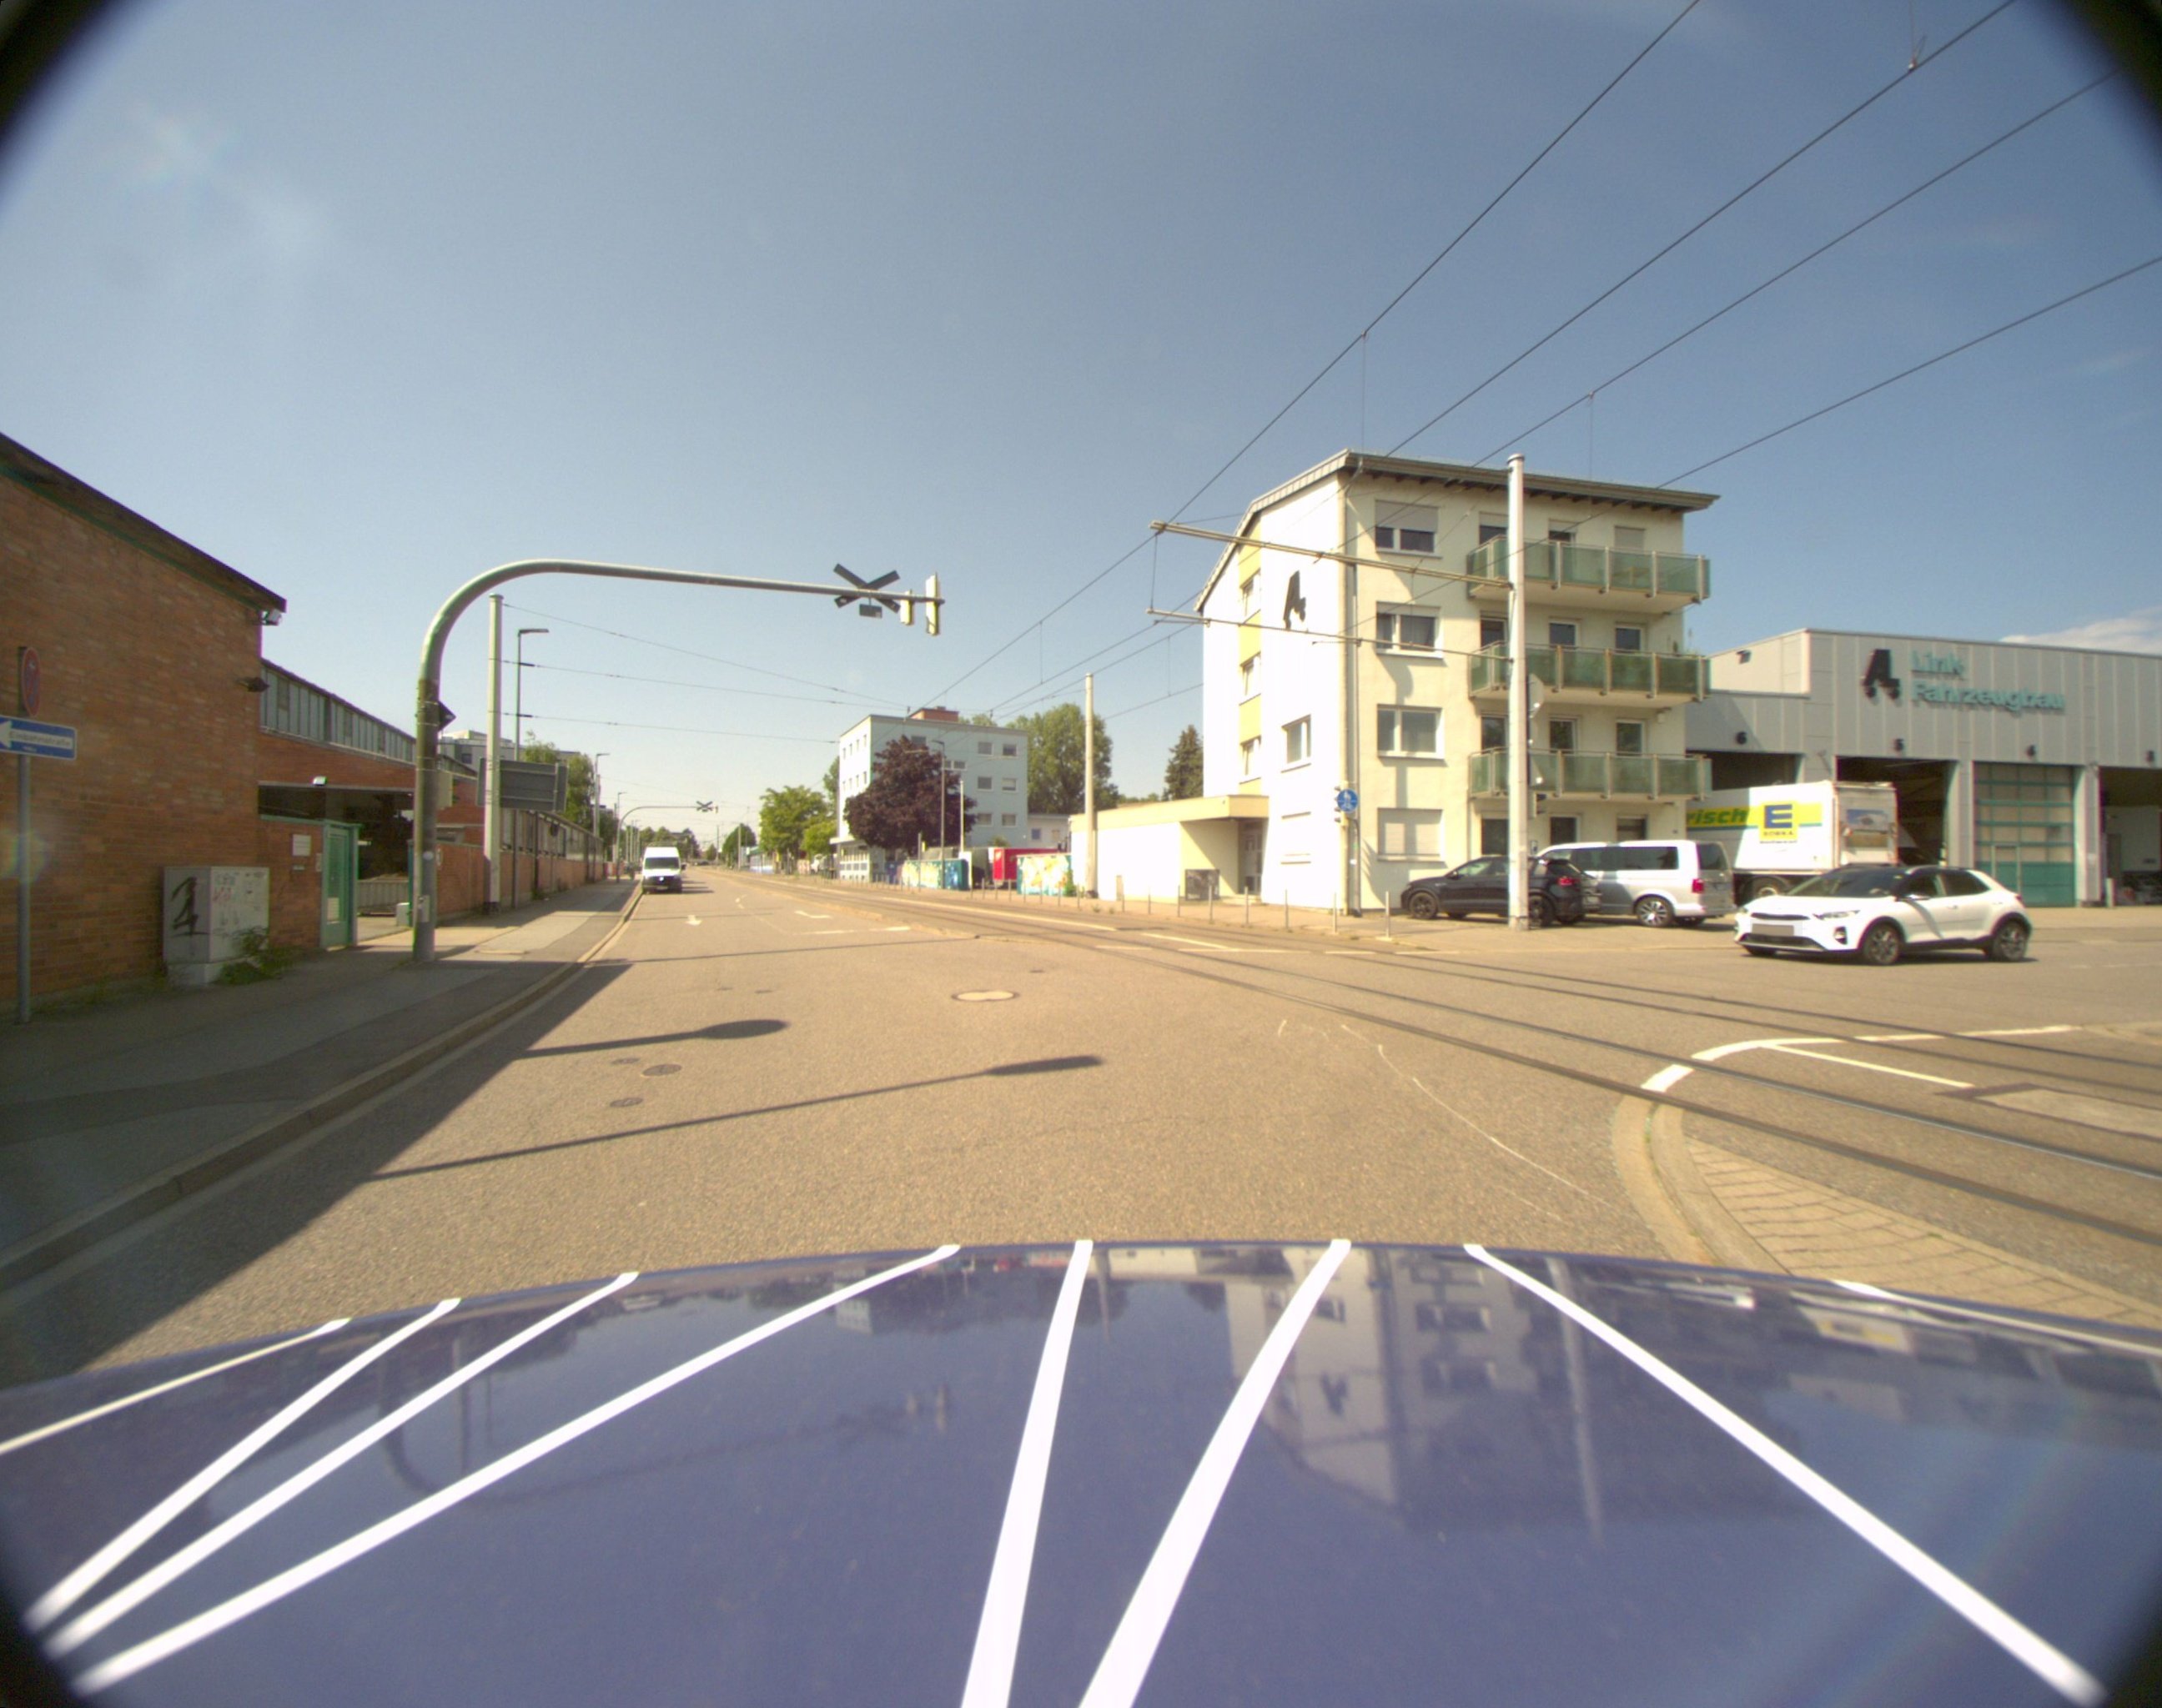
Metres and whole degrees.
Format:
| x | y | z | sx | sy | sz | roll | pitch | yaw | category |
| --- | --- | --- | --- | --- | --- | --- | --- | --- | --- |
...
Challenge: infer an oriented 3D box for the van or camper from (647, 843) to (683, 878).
| x | y | z | sx | sy | sz | roll | pitch | yaw | category |
| --- | --- | --- | --- | --- | --- | --- | --- | --- | --- |
| -34.749 | 0.563 | 63.398 | 2.528 | 2.770 | 7.099 | 0 | 0 | -30 | van or camper |

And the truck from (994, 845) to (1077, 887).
| x | y | z | sx | sy | sz | roll | pitch | yaw | category |
| --- | --- | --- | --- | --- | --- | --- | --- | --- | --- |
| -2.940 | 0.755 | 48.694 | 4.840 | 2.611 | 2.185 | 0 | 0 | -23 | truck |

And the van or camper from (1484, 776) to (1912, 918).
| x | y | z | sx | sy | sz | roll | pitch | yaw | category |
| --- | --- | --- | --- | --- | --- | --- | --- | --- | --- |
| 19.364 | -0.117 | 25.624 | 2.783 | 3.671 | 11.621 | 0 | 0 | -17 | van or camper |

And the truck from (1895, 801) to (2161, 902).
| x | y | z | sx | sy | sz | roll | pitch | yaw | category |
| --- | --- | --- | --- | --- | --- | --- | --- | --- | --- |
| 40.601 | -0.068 | 32.419 | 2.625 | 3.759 | 7.854 | 0 | 0 | -10 | truck |

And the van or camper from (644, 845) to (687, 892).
| x | y | z | sx | sy | sz | roll | pitch | yaw | category |
| --- | --- | --- | --- | --- | --- | --- | --- | --- | --- |
| -24.038 | 0.817 | 43.941 | 2.047 | 2.519 | 5.855 | 0 | 0 | -29 | van or camper |

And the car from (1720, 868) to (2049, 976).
| x | y | z | sx | sy | sz | roll | pitch | yaw | category |
| --- | --- | --- | --- | --- | --- | --- | --- | --- | --- |
| 12.744 | 0.996 | 12.135 | 4.110 | 1.521 | 1.736 | 0 | 0 | -12 | car |

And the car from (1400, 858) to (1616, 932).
| x | y | z | sx | sy | sz | roll | pitch | yaw | category |
| --- | --- | --- | --- | --- | --- | --- | --- | --- | --- |
| 9.796 | 0.872 | 17.704 | 1.884 | 1.512 | 3.963 | 0 | -1 | -35 | car |

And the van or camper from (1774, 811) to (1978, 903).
| x | y | z | sx | sy | sz | roll | pitch | yaw | category |
| --- | --- | --- | --- | --- | --- | --- | --- | --- | --- |
| 30.115 | 0.144 | 29.068 | 2.001 | 3.186 | 5.054 | 0 | -1 | -12 | van or camper |

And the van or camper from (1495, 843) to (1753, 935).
| x | y | z | sx | sy | sz | roll | pitch | yaw | category |
| --- | --- | --- | --- | --- | --- | --- | --- | --- | --- |
| 12.664 | 0.723 | 18.050 | 2.003 | 1.896 | 4.545 | 1 | 0 | -31 | van or camper |
